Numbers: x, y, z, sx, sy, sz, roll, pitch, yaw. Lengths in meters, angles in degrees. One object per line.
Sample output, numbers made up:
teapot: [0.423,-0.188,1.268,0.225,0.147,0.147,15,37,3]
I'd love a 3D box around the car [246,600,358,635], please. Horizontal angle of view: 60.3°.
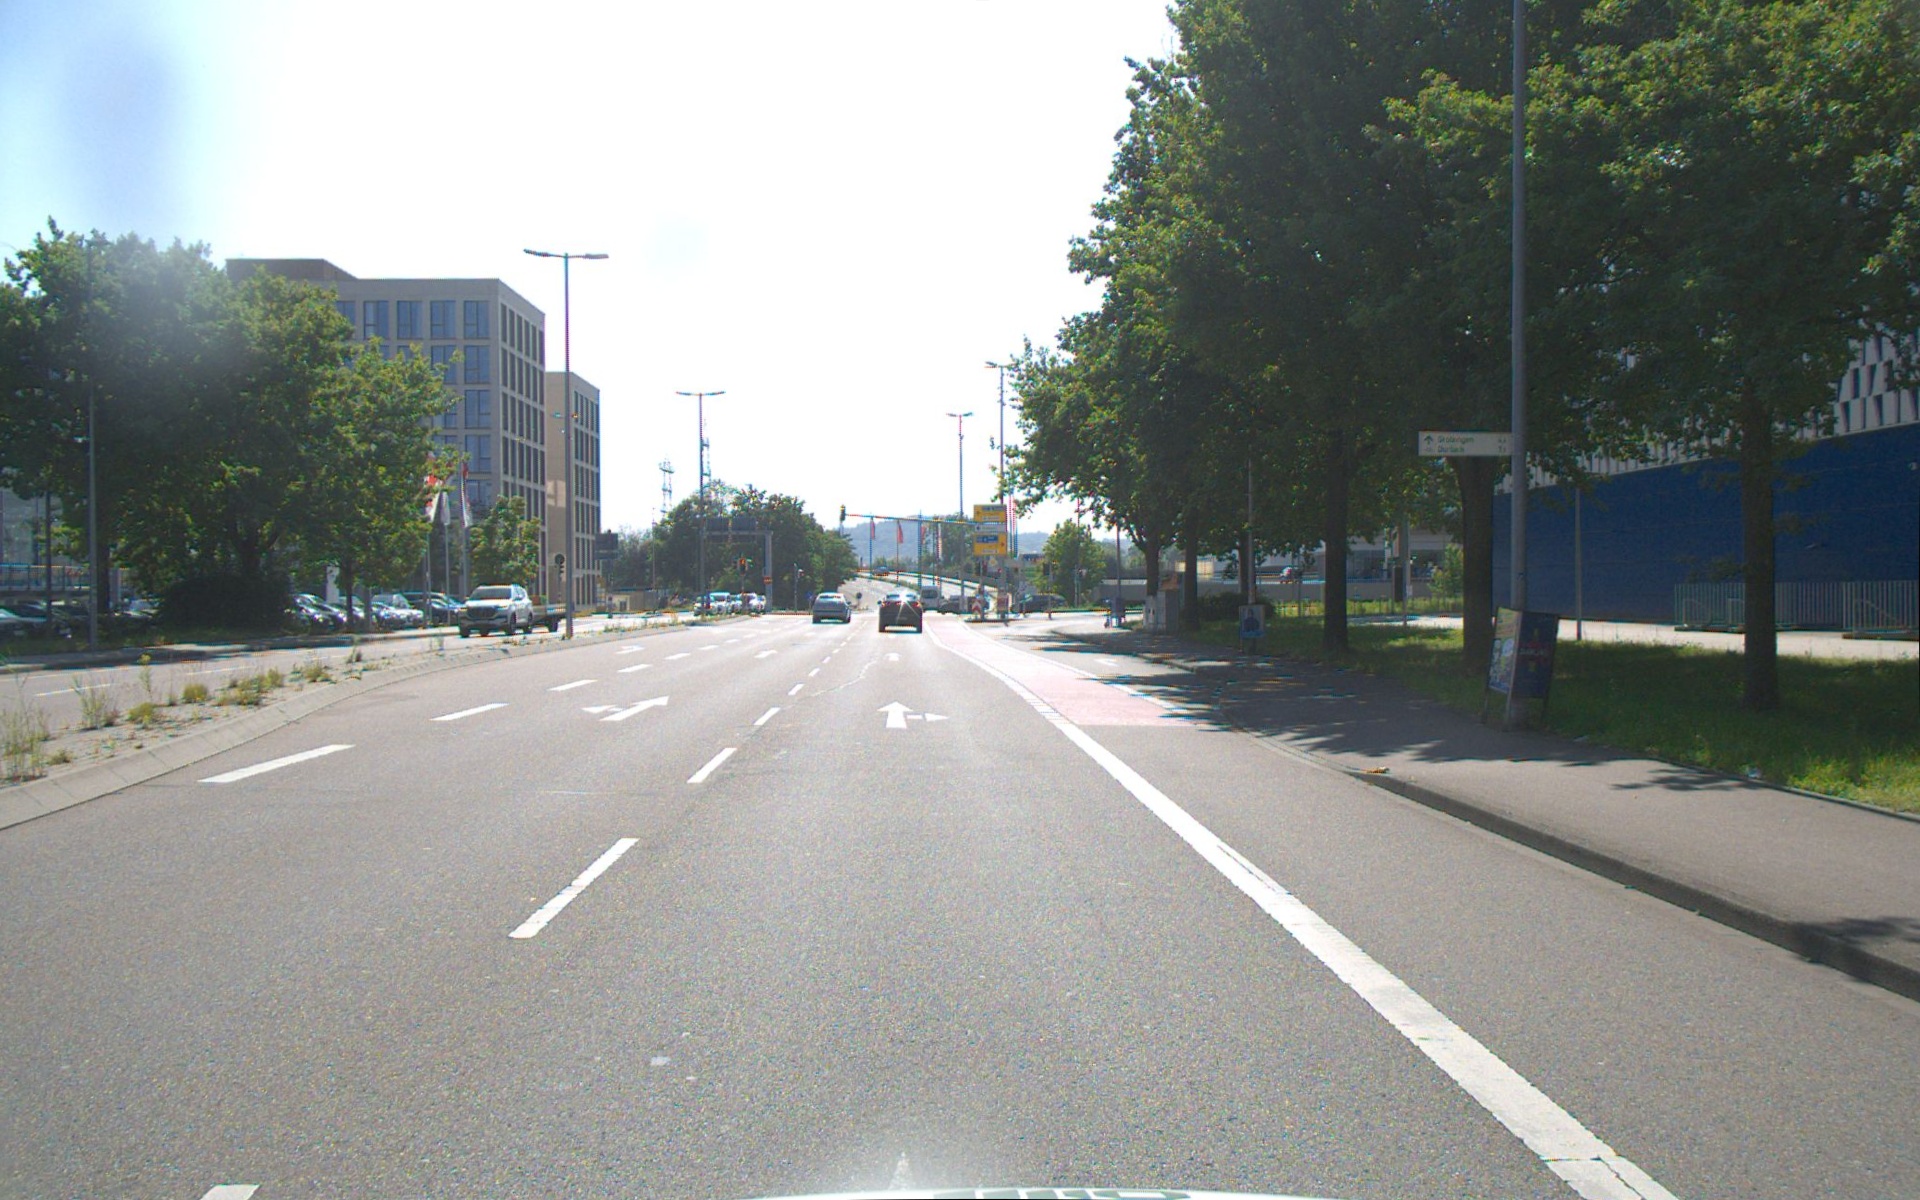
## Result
car: [-27.773,0.722,69.916,3.907,1.366,1.999,-1,0,-3]

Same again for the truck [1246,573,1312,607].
truck: [25.080,-0.807,130.039,4.780,2.466,2.001,2,1,1]

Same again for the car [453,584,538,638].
car: [-16.874,0.371,60.340,1.954,1.864,4.934,-1,0,-4]

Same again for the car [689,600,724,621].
car: [-19.143,0.795,125.114,1.852,1.489,4.001,-1,0,3]

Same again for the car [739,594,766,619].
car: [-11.975,0.357,95.532,1.190,1.354,2.800,2,1,0]

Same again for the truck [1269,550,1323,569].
truck: [38.853,-4.696,191.535,5.788,2.048,2.000,2,1,0]

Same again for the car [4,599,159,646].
car: [-28.036,0.713,52.887,3.906,1.400,1.924,-1,0,-2]

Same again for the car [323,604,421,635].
car: [-27.836,0.907,78.367,3.907,1.366,1.999,-1,0,-3]

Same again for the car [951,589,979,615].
car: [0.348,0.155,123.097,1.723,1.789,3.600,1,1,-4]

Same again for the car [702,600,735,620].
car: [-19.316,0.773,132.433,1.778,1.489,4.001,-1,0,3]

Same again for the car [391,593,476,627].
car: [-33.948,0.637,106.679,4.814,2.086,2.000,-1,0,0]

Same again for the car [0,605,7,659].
car: [-27.164,0.870,42.743,3.906,1.400,1.924,-1,0,-2]

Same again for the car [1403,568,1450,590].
car: [45.479,-2.059,161.382,3.907,2.048,1.999,1,1,-3]

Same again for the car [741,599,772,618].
car: [-16.424,0.689,133.355,1.778,1.489,4.001,-1,0,3]

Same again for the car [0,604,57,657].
car: [-27.092,0.851,45.039,3.906,1.400,1.924,-1,0,-2]

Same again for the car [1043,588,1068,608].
car: [7.108,-0.148,123.554,1.654,1.382,4.001,2,1,0]

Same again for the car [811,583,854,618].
car: [-6.512,0.018,84.742,1.953,1.713,3.999,-1,0,-1]

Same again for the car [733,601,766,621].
car: [-16.065,0.844,126.390,1.778,1.489,4.001,-1,0,3]

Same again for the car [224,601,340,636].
car: [-27.663,0.746,67.608,3.907,1.366,1.999,-1,0,-3]

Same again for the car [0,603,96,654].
car: [-27.133,0.809,47.197,3.906,1.400,1.924,-1,0,-2]

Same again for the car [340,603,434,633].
car: [-27.940,0.870,80.754,3.907,1.366,1.999,-1,0,-3]

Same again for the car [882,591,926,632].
car: [-2.371,0.465,69.990,1.771,1.668,4.457,-1,0,-2]

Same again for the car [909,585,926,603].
car: [-5.026,-0.731,194.516,1.953,2.048,3.980,1,1,-1]

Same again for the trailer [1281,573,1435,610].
trailer: [31.235,-0.659,130.000,11.627,2.512,2.000,2,1,0]

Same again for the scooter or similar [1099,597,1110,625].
scooter or similar: [6.568,0.490,75.202,0.343,1.255,1.312,-1,0,12]

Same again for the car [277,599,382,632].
car: [-27.757,0.679,72.905,3.908,1.366,1.999,-1,0,-4]

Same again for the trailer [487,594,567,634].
trailer: [-17.143,0.522,65.734,1.954,1.478,5.768,-1,0,-4]
